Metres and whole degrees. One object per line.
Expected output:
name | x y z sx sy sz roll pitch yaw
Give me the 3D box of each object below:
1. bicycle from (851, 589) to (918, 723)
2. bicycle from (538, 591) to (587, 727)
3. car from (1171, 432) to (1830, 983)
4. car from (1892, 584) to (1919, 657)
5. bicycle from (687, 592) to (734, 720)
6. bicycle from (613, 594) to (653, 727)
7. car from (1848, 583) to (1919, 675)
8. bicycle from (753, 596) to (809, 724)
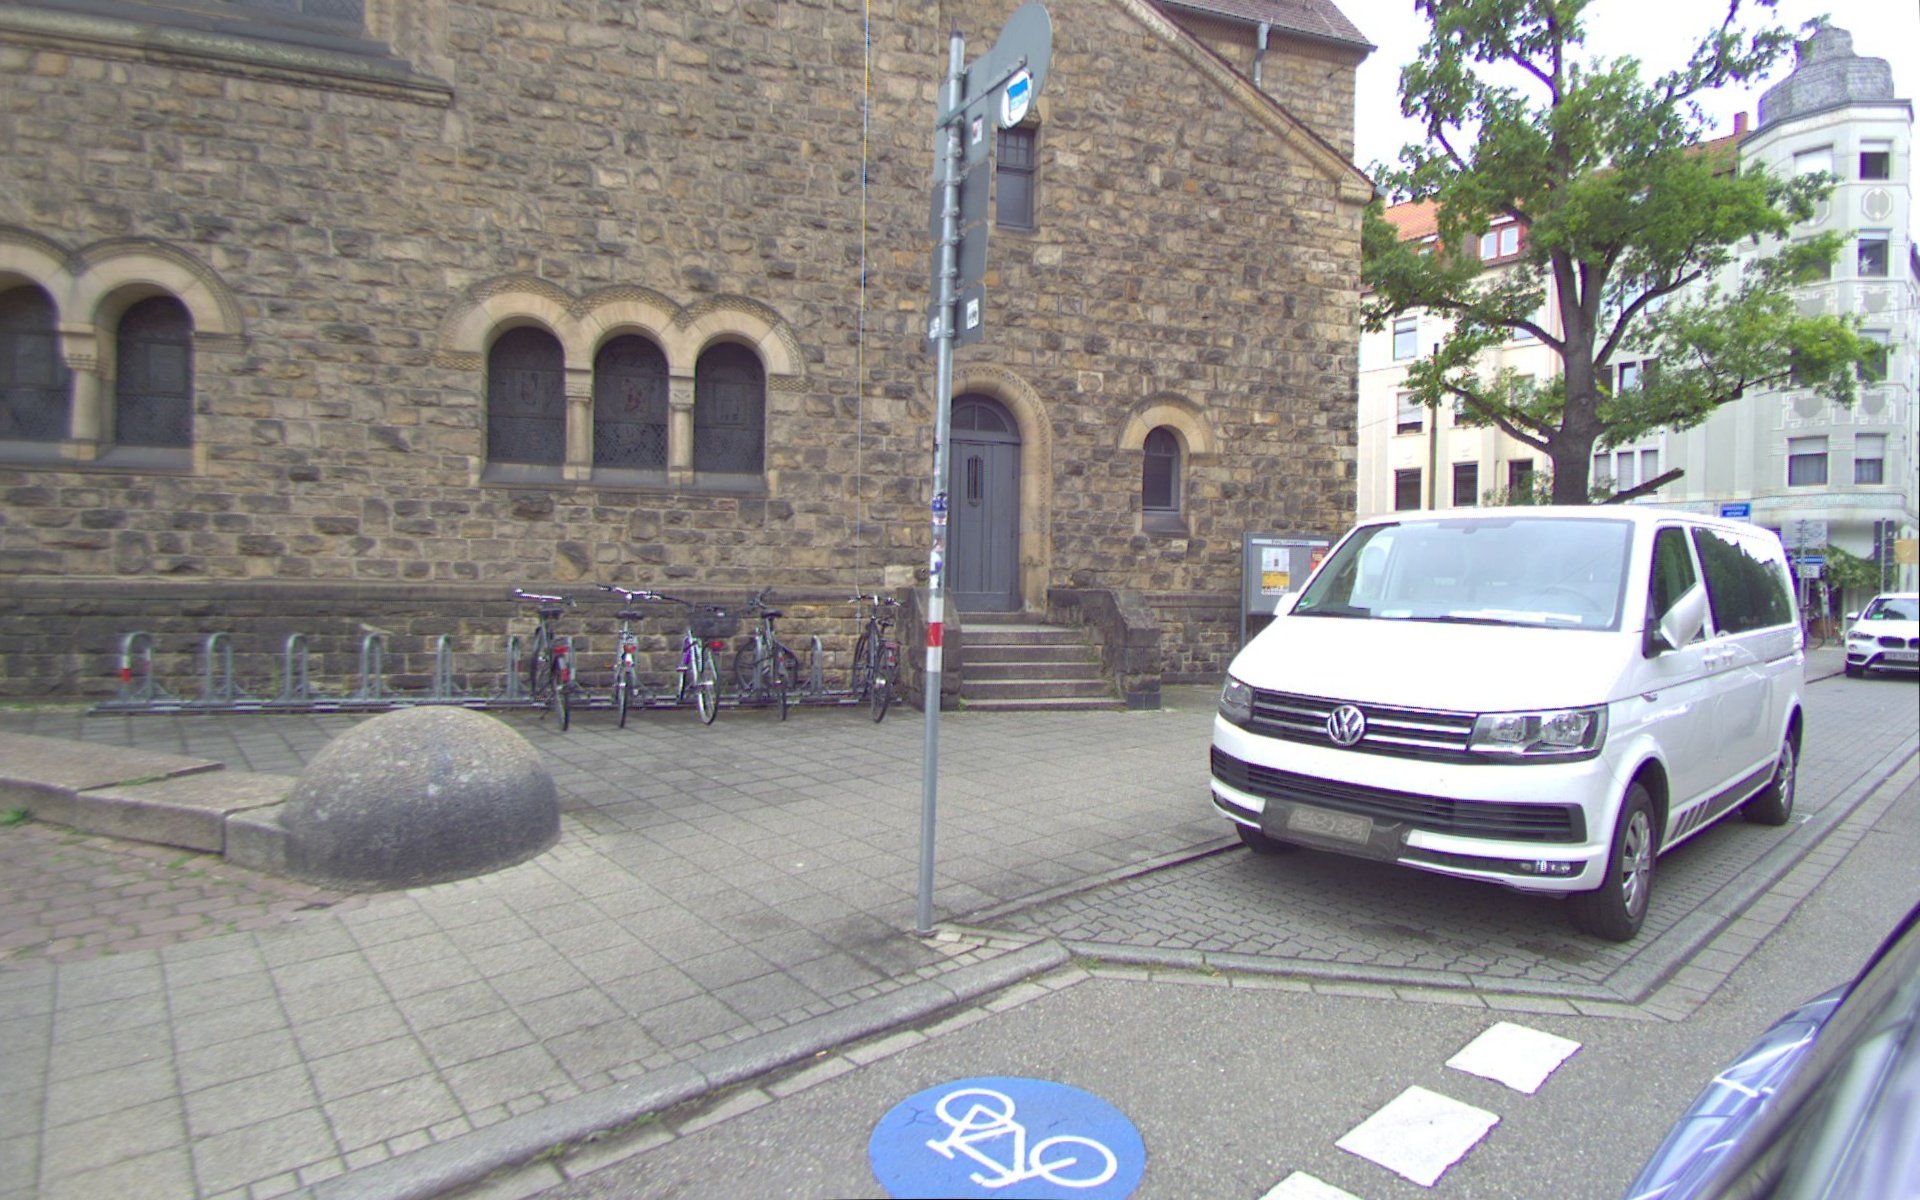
bicycle | -0.732 0.484 9.575 0.304 1.161 1.346 1 1 -18
bicycle | -3.435 0.467 8.789 0.304 1.073 1.387 1 1 -18
car | 3.515 0.359 5.953 5.075 1.944 1.808 0 1 -42
car | 22.489 0.453 22.746 3.930 1.585 1.819 0 1 -41
bicycle | -2.321 0.478 9.372 0.304 1.073 1.387 1 1 -18
bicycle | -2.927 0.495 9.052 0.304 1.073 1.387 1 1 -18
car | 18.076 0.499 18.821 3.930 1.585 1.819 0 1 -41
bicycle | -1.668 0.510 9.348 0.304 1.073 1.346 1 1 -18
